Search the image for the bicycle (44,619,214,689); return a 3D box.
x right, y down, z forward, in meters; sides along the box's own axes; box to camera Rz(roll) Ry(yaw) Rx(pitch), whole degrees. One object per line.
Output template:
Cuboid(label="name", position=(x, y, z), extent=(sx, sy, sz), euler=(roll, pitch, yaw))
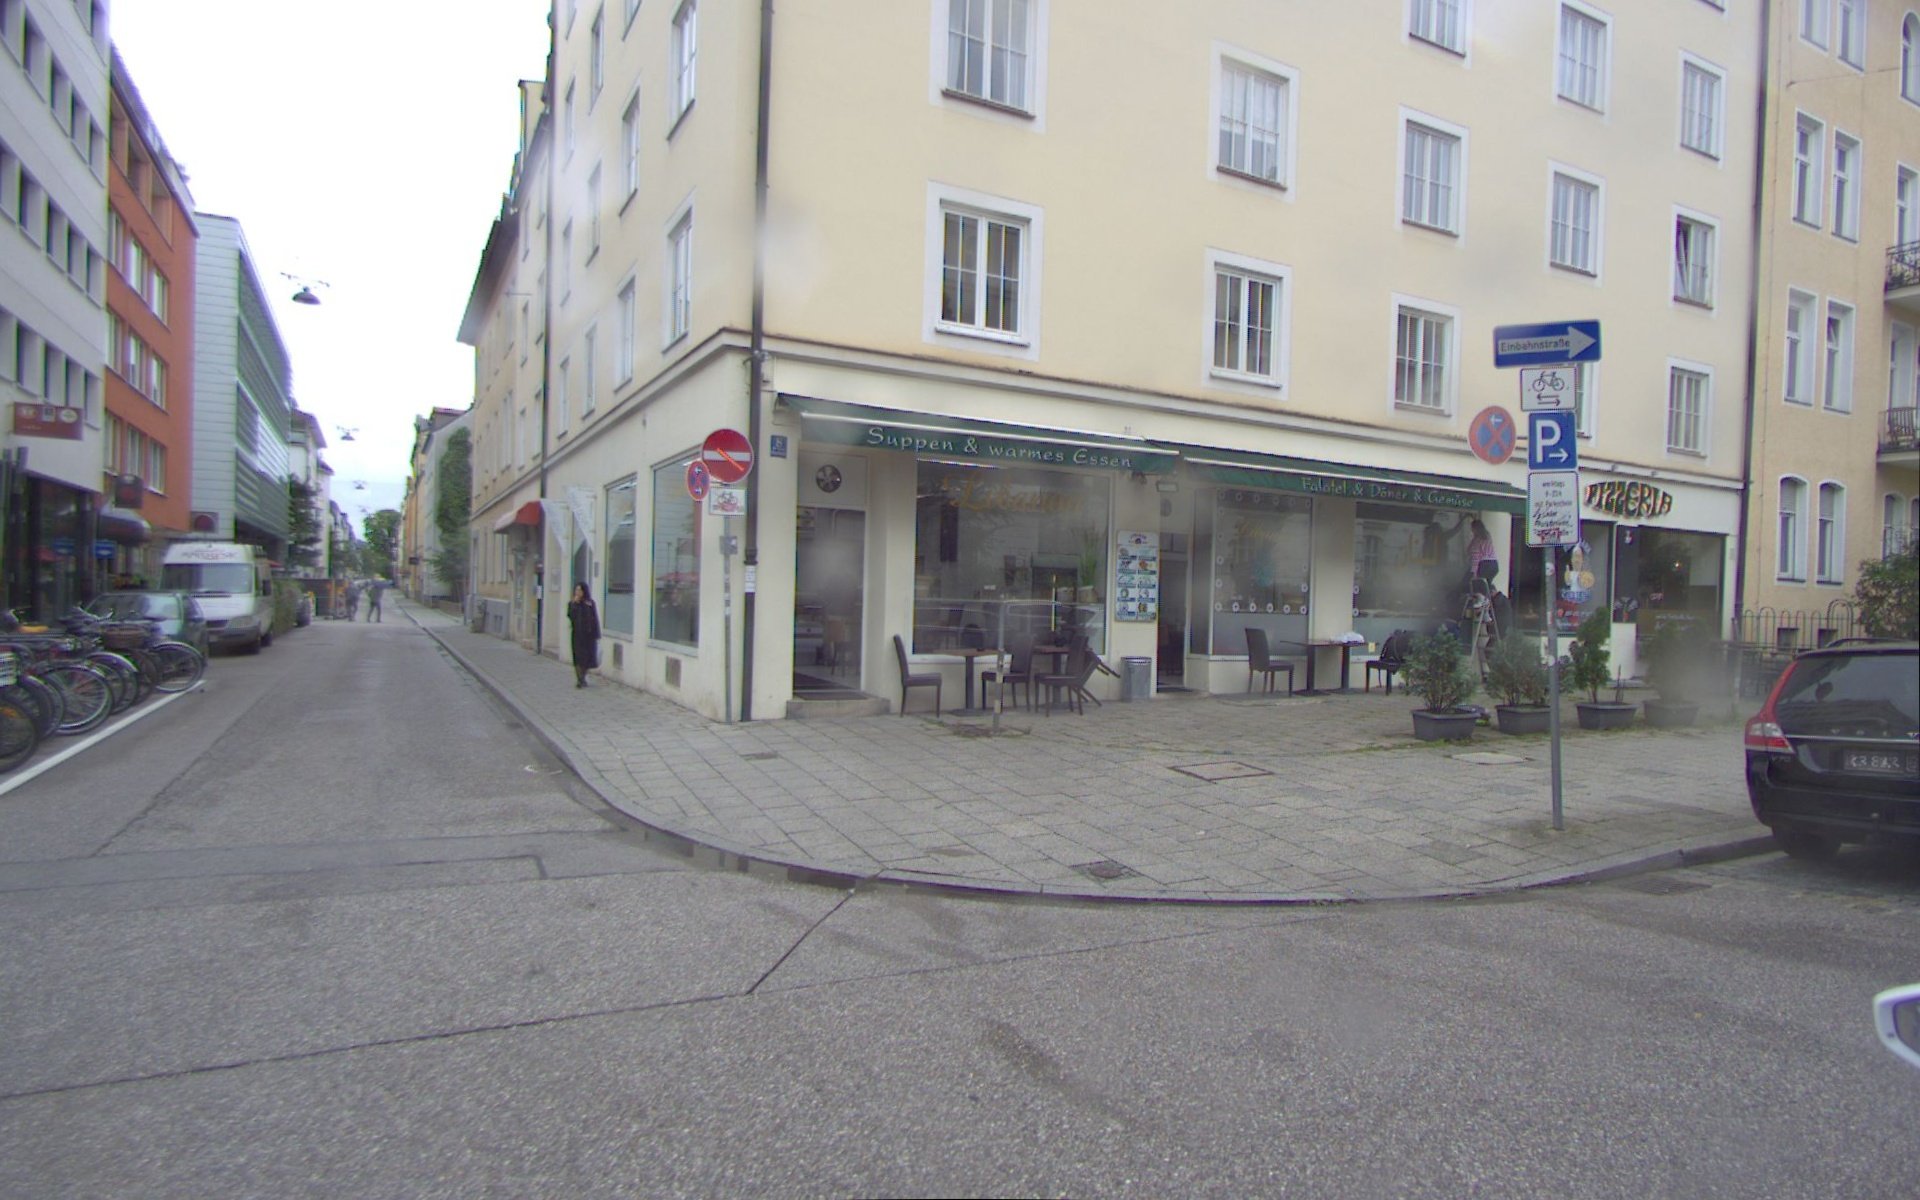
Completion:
Cuboid(label="bicycle", position=(-12.189, 0.789, 14.801), extent=(1.874, 0.981, 0.395), euler=(2, 1, -33))

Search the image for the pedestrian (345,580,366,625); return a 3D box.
Cuboid(label="pedestrian", position=(-28.082, 0.107, 46.666), extent=(0.712, 2.040, 0.878), euler=(2, 1, -35))

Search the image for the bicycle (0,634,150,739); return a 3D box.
Cuboid(label="bicycle", position=(-9.149, 0.833, 9.804), extent=(1.874, 0.981, 0.395), euler=(2, 1, -33))

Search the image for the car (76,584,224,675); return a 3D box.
Cuboid(label="car", position=(-14.134, 0.469, 17.708), extent=(1.473, 1.426, 3.661), euler=(2, 0, -31))

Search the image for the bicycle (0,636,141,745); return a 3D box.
Cuboid(label="bicycle", position=(-8.904, 0.837, 9.389), extent=(1.874, 0.981, 0.395), euler=(2, 1, -33))

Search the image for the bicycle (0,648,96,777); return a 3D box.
Cuboid(label="bicycle", position=(-7.932, 0.871, 7.736), extent=(1.874, 0.981, 0.395), euler=(2, 1, -33))

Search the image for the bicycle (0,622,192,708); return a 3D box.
Cuboid(label="bicycle", position=(-10.576, 0.785, 12.241), extent=(1.874, 0.981, 0.395), euler=(2, 1, -33))

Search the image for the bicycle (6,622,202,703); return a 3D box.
Cuboid(label="bicycle", position=(-11.007, 0.800, 12.995), extent=(1.874, 0.981, 0.395), euler=(2, 1, -33))

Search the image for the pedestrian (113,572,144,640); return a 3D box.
Cuboid(label="pedestrian", position=(-21.802, 0.153, 26.348), extent=(0.516, 1.763, 0.489), euler=(1, 0, -31))

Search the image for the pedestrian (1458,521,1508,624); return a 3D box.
Cuboid(label="pedestrian", position=(8.647, -0.452, 16.608), extent=(0.490, 1.664, 0.476), euler=(2, 1, -22))

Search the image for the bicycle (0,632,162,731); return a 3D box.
Cuboid(label="bicycle", position=(-9.560, 0.837, 10.475), extent=(1.874, 0.981, 0.395), euler=(2, 1, -33))

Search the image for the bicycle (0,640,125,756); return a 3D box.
Cuboid(label="bicycle", position=(-8.544, 0.851, 8.766), extent=(1.874, 0.981, 0.395), euler=(2, 1, -33))

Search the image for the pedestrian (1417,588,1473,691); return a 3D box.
Cuboid(label="pedestrian", position=(7.989, 0.645, 16.548), extent=(0.621, 1.664, 0.520), euler=(2, 1, -27))

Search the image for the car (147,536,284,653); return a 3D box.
Cuboid(label="car", position=(-17.552, -0.158, 23.992), extent=(1.942, 2.420, 6.429), euler=(2, 0, -31))

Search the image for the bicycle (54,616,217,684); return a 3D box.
Cuboid(label="bicycle", position=(-12.552, 0.755, 15.358), extent=(1.874, 0.981, 0.395), euler=(2, 1, -33))

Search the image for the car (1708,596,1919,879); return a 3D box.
Cuboid(label="car", position=(7.518, 0.867, 7.021), extent=(4.689, 1.607, 1.844), euler=(2, 0, -28))

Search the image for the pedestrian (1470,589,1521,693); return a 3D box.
Cuboid(label="pedestrian", position=(9.057, 0.685, 16.994), extent=(0.567, 1.713, 0.460), euler=(2, 1, -26))

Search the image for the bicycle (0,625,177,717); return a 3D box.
Cuboid(label="bicycle", position=(-10.105, 0.794, 11.393), extent=(1.874, 0.981, 0.395), euler=(2, 1, -33))

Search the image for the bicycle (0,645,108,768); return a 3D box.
Cuboid(label="bicycle", position=(-8.169, 0.863, 8.136), extent=(1.874, 0.981, 0.395), euler=(2, 1, -33))

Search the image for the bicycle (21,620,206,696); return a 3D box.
Cuboid(label="bicycle", position=(-11.508, 0.782, 13.734), extent=(1.874, 0.981, 0.395), euler=(2, 1, -33))

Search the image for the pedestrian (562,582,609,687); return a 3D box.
Cuboid(label="pedestrian", position=(-5.847, 0.529, 15.662), extent=(0.631, 1.582, 0.605), euler=(2, 1, -23))

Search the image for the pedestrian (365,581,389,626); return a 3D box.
Cuboid(label="pedestrian", position=(-27.384, 0.162, 47.165), extent=(0.864, 2.040, 0.878), euler=(2, 1, -35))
